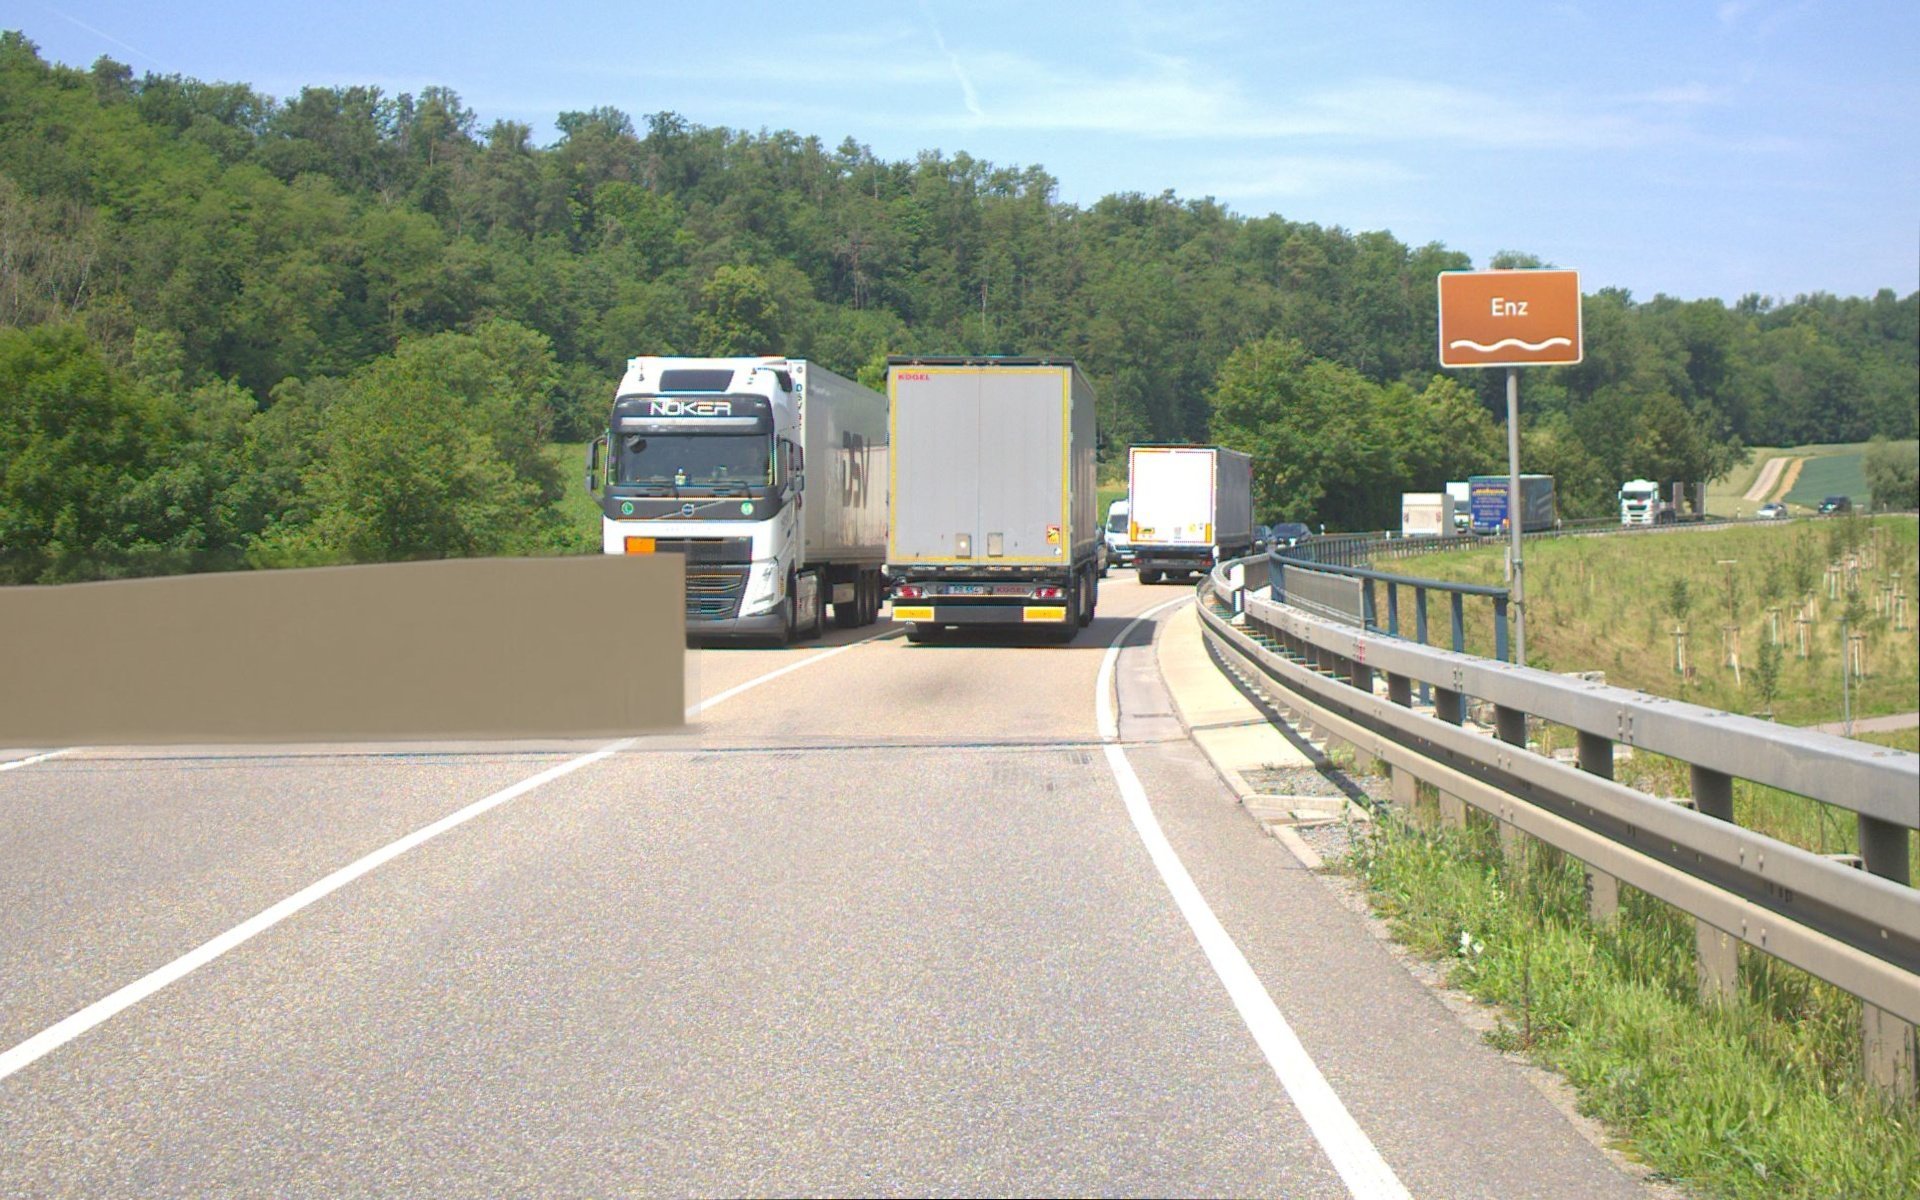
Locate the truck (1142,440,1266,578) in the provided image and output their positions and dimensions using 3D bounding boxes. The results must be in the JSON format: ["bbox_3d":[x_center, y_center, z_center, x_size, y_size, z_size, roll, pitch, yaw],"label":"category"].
[{"bbox_3d":[7.947,-2.929,111.374,3.366,4.302,6.738,1,1,9],"label":"truck"}]

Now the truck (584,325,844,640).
[{"bbox_3d":[-3.380,-1.645,48.814,2.846,4.146,6.330,1,1,3],"label":"truck"}]

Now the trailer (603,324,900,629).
[{"bbox_3d":[-3.013,-1.855,54.691,2.853,4.173,14.496,1,1,4],"label":"trailer"}]

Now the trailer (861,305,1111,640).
[{"bbox_3d":[0.647,-1.859,53.207,3.118,4.484,13.885,1,1,3],"label":"trailer"}]

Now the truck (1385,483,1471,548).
[{"bbox_3d":[25.396,-4.548,186.086,3.225,3.354,11.867,1,1,14],"label":"truck"}]

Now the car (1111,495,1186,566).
[{"bbox_3d":[7.095,-2.577,128.839,2.180,2.550,5.795,1,1,9],"label":"car"}]

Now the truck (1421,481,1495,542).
[{"bbox_3d":[31.465,-5.621,216.984,2.917,3.790,9.700,1,2,18],"label":"truck"}]

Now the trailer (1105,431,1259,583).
[{"bbox_3d":[6.907,-2.787,104.820,3.366,4.302,13.860,1,1,9],"label":"trailer"}]

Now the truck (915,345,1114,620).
[{"bbox_3d":[1.042,-1.993,59.763,3.118,4.479,6.810,1,1,3],"label":"truck"}]

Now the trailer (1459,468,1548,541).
[{"bbox_3d":[32.803,-5.719,206.893,3.651,4.248,12.185,1,1,17],"label":"trailer"}]

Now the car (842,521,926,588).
[{"bbox_3d":[-1.736,-1.067,79.207,1.661,1.452,3.894,0,2,3],"label":"car"}]
